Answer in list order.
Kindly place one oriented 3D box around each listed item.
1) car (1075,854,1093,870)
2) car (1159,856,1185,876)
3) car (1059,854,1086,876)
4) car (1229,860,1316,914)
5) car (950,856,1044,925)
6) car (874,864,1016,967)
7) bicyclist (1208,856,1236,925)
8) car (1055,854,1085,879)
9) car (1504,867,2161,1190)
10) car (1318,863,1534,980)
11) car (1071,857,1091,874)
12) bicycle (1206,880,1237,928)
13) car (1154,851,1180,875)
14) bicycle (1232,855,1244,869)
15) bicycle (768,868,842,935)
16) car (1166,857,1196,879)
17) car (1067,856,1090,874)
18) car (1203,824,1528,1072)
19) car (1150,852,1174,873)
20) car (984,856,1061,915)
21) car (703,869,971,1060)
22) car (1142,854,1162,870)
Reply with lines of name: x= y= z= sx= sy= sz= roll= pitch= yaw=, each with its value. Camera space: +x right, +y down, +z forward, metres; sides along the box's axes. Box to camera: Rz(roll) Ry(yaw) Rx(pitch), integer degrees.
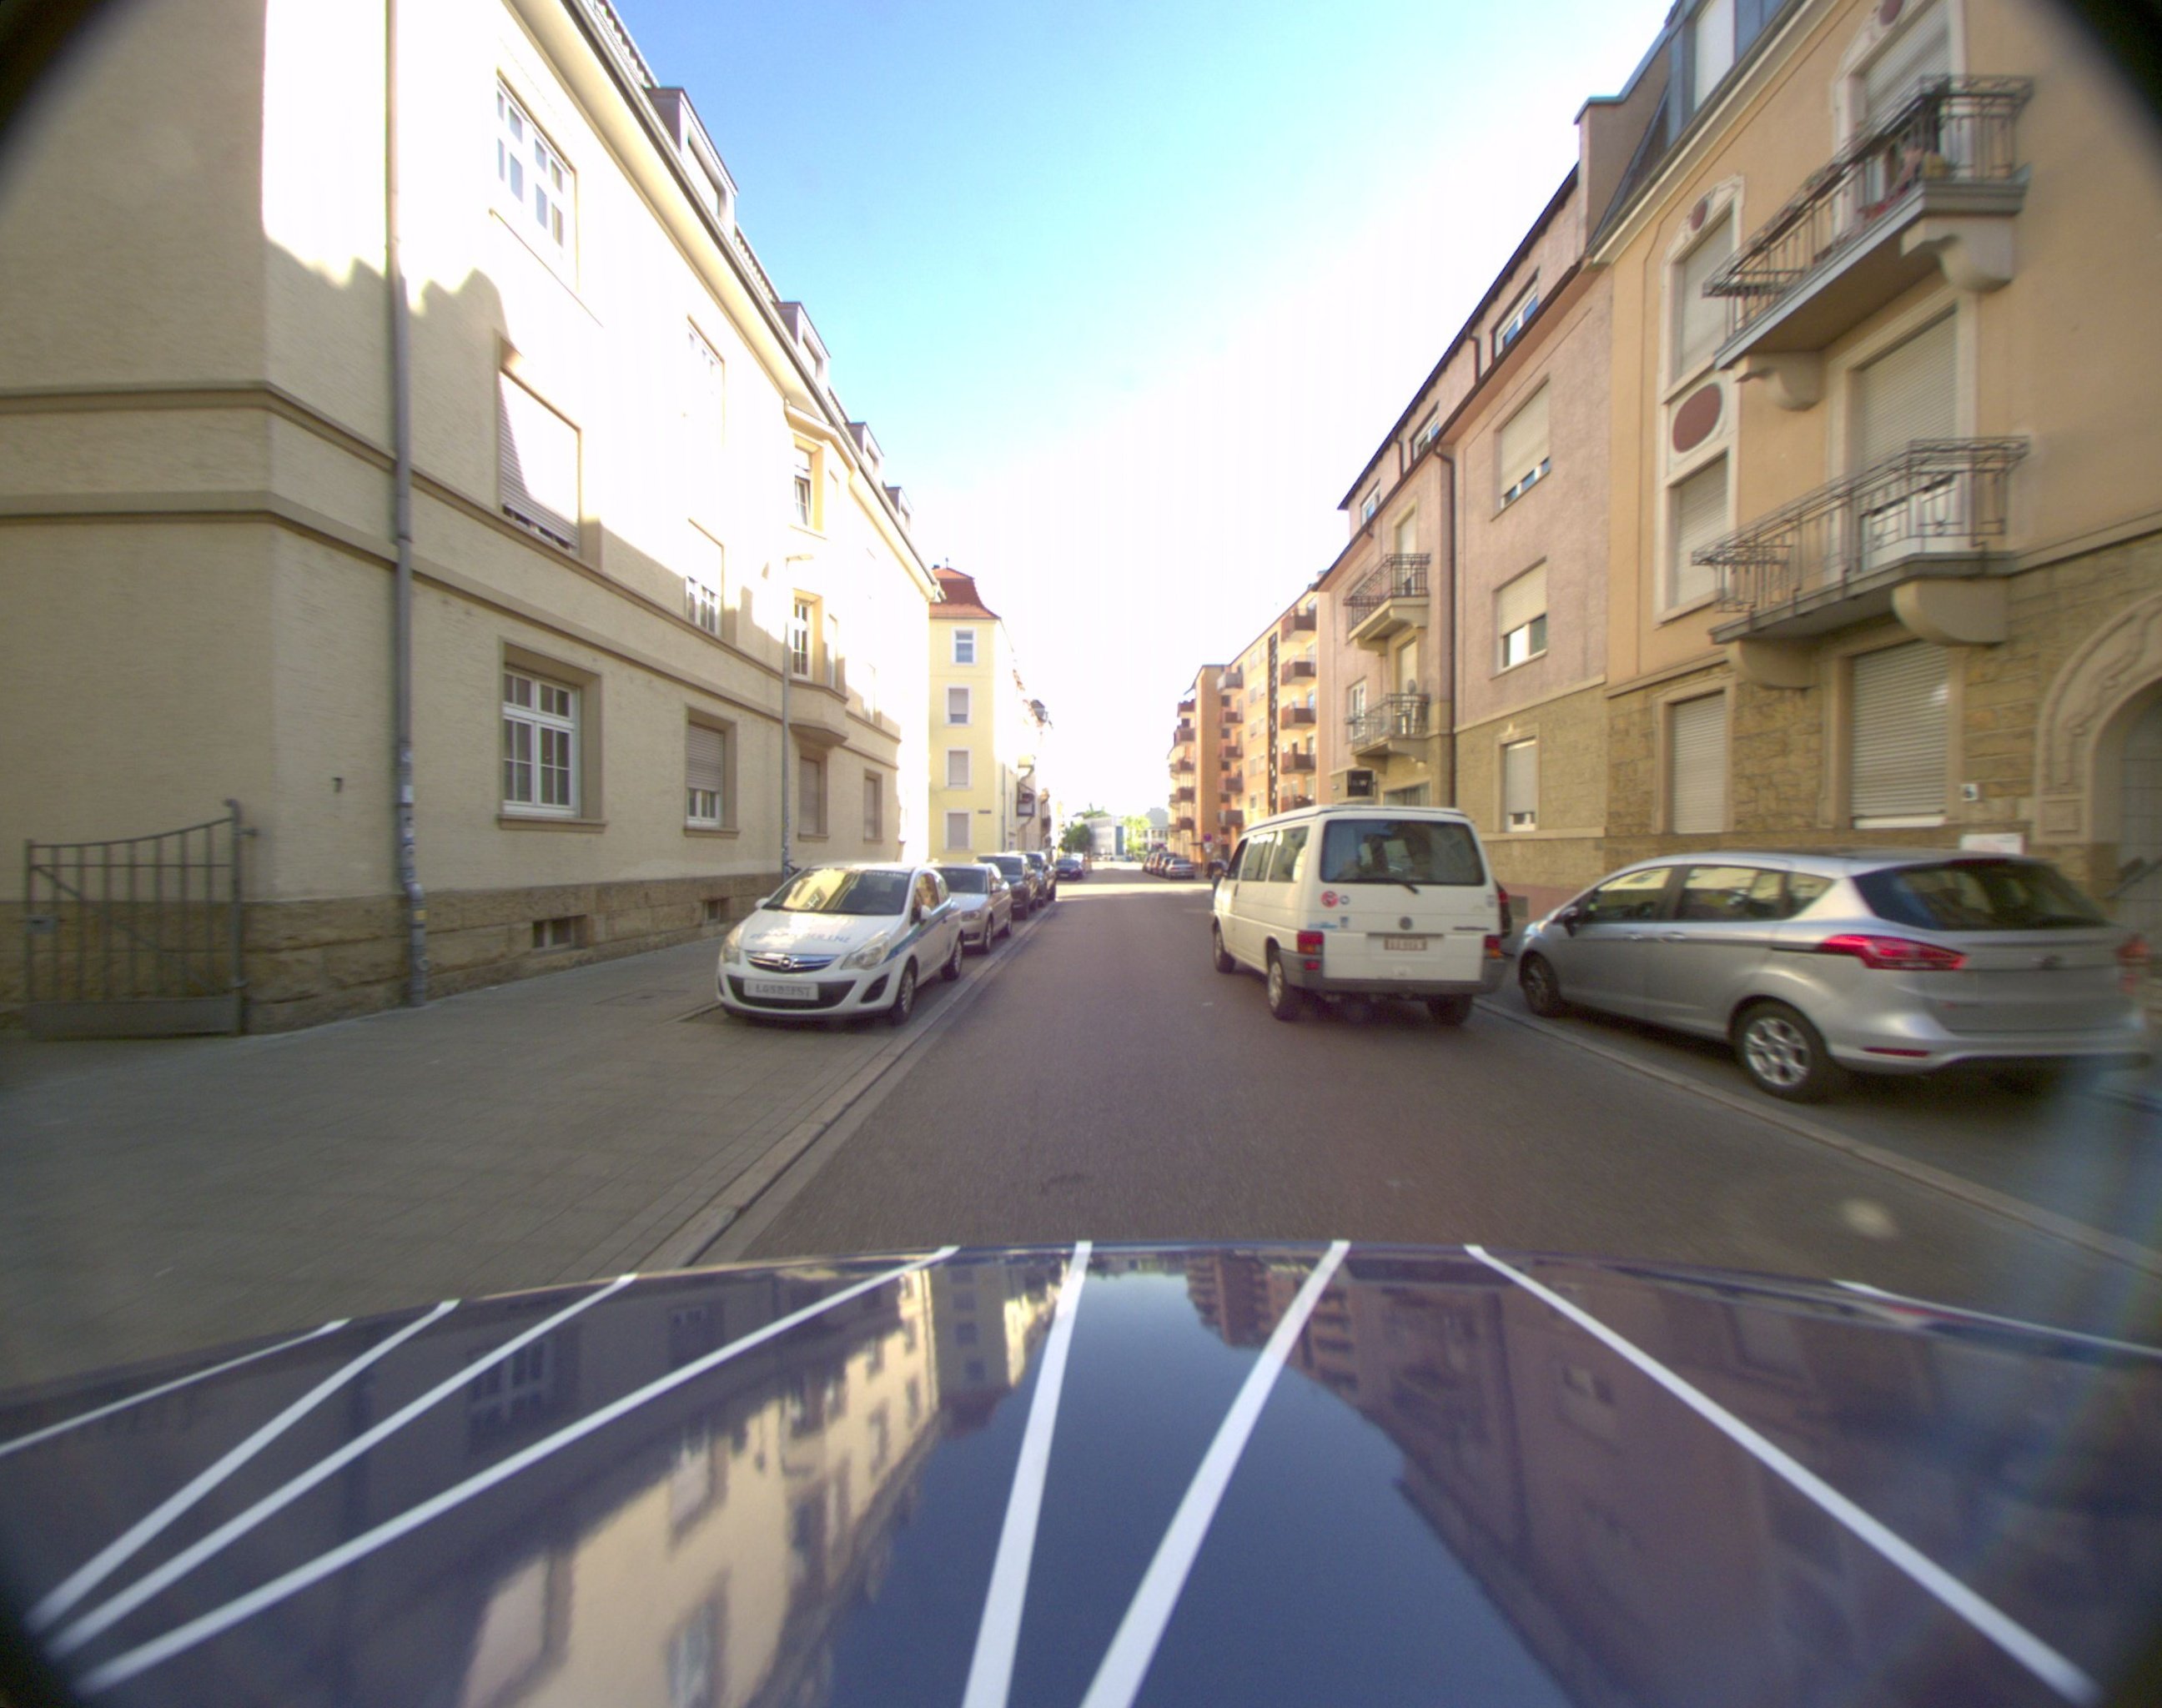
car: x=0.367 y=0.797 z=76.814 sx=1.708 sy=1.417 sz=3.722 roll=1 pitch=1 yaw=2
car: x=6.687 y=0.851 z=55.995 sx=1.678 sy=1.414 sz=3.286 roll=0 pitch=0 yaw=2
car: x=-0.569 y=0.751 z=53.651 sx=1.708 sy=1.417 sz=3.722 roll=1 pitch=1 yaw=2
car: x=5.600 y=0.920 z=22.677 sx=1.719 sy=1.378 sz=3.865 roll=-3 pitch=0 yaw=3
car: x=-2.031 y=0.838 z=19.406 sx=1.684 sy=1.537 sz=3.915 roll=1 pitch=0 yaw=4
car: x=-2.196 y=0.941 z=13.336 sx=1.656 sy=1.455 sz=4.095 roll=0 pitch=0 yaw=2
bicyclist: x=3.423 y=0.868 z=18.475 sx=0.609 sy=1.656 sz=0.632 roll=0 pitch=0 yaw=3
car: x=-0.658 y=0.768 z=48.184 sx=1.708 sy=1.417 sz=3.722 roll=1 pitch=1 yaw=2
car: x=5.108 y=0.926 z=5.738 sx=1.719 sy=1.529 sz=3.724 roll=-2 pitch=0 yaw=0
car: x=5.333 y=0.945 z=12.390 sx=1.719 sy=1.512 sz=4.110 roll=0 pitch=0 yaw=1
car: x=0.008 y=1.036 z=71.335 sx=1.708 sy=1.417 sz=3.722 roll=1 pitch=1 yaw=2
bicycle: x=3.422 y=1.191 z=18.614 sx=0.541 sy=1.070 sz=1.800 roll=0 pitch=0 yaw=3
car: x=6.969 y=0.698 z=61.995 sx=1.822 sy=1.867 sz=4.112 roll=0 pitch=0 yaw=2
bicycle: x=12.914 y=0.669 z=62.581 sx=0.494 sy=1.101 sz=1.805 roll=0 pitch=0 yaw=-4
bicycle: x=-5.427 y=0.897 z=15.065 sx=0.832 sy=1.194 sz=1.955 roll=0 pitch=0 yaw=-3
car: x=6.713 y=0.901 z=51.221 sx=1.678 sy=1.414 sz=3.501 roll=0 pitch=0 yaw=2
car: x=-0.194 y=0.854 z=59.992 sx=1.708 sy=1.417 sz=3.722 roll=0 pitch=0 yaw=0
car: x=2.651 y=0.758 z=8.409 sx=1.868 sy=1.925 sz=4.600 roll=2 pitch=0 yaw=1
car: x=7.201 y=0.731 z=67.928 sx=1.822 sy=1.867 sz=4.112 roll=0 pitch=0 yaw=2
car: x=-1.724 y=0.897 z=23.831 sx=1.790 sy=1.654 sz=4.435 roll=0 pitch=0 yaw=4
car: x=-2.227 y=0.922 z=7.945 sx=1.590 sy=1.455 sz=3.712 roll=0 pitch=0 yaw=0
car: x=7.315 y=0.776 z=78.349 sx=1.822 sy=1.589 sz=3.812 roll=0 pitch=0 yaw=2
